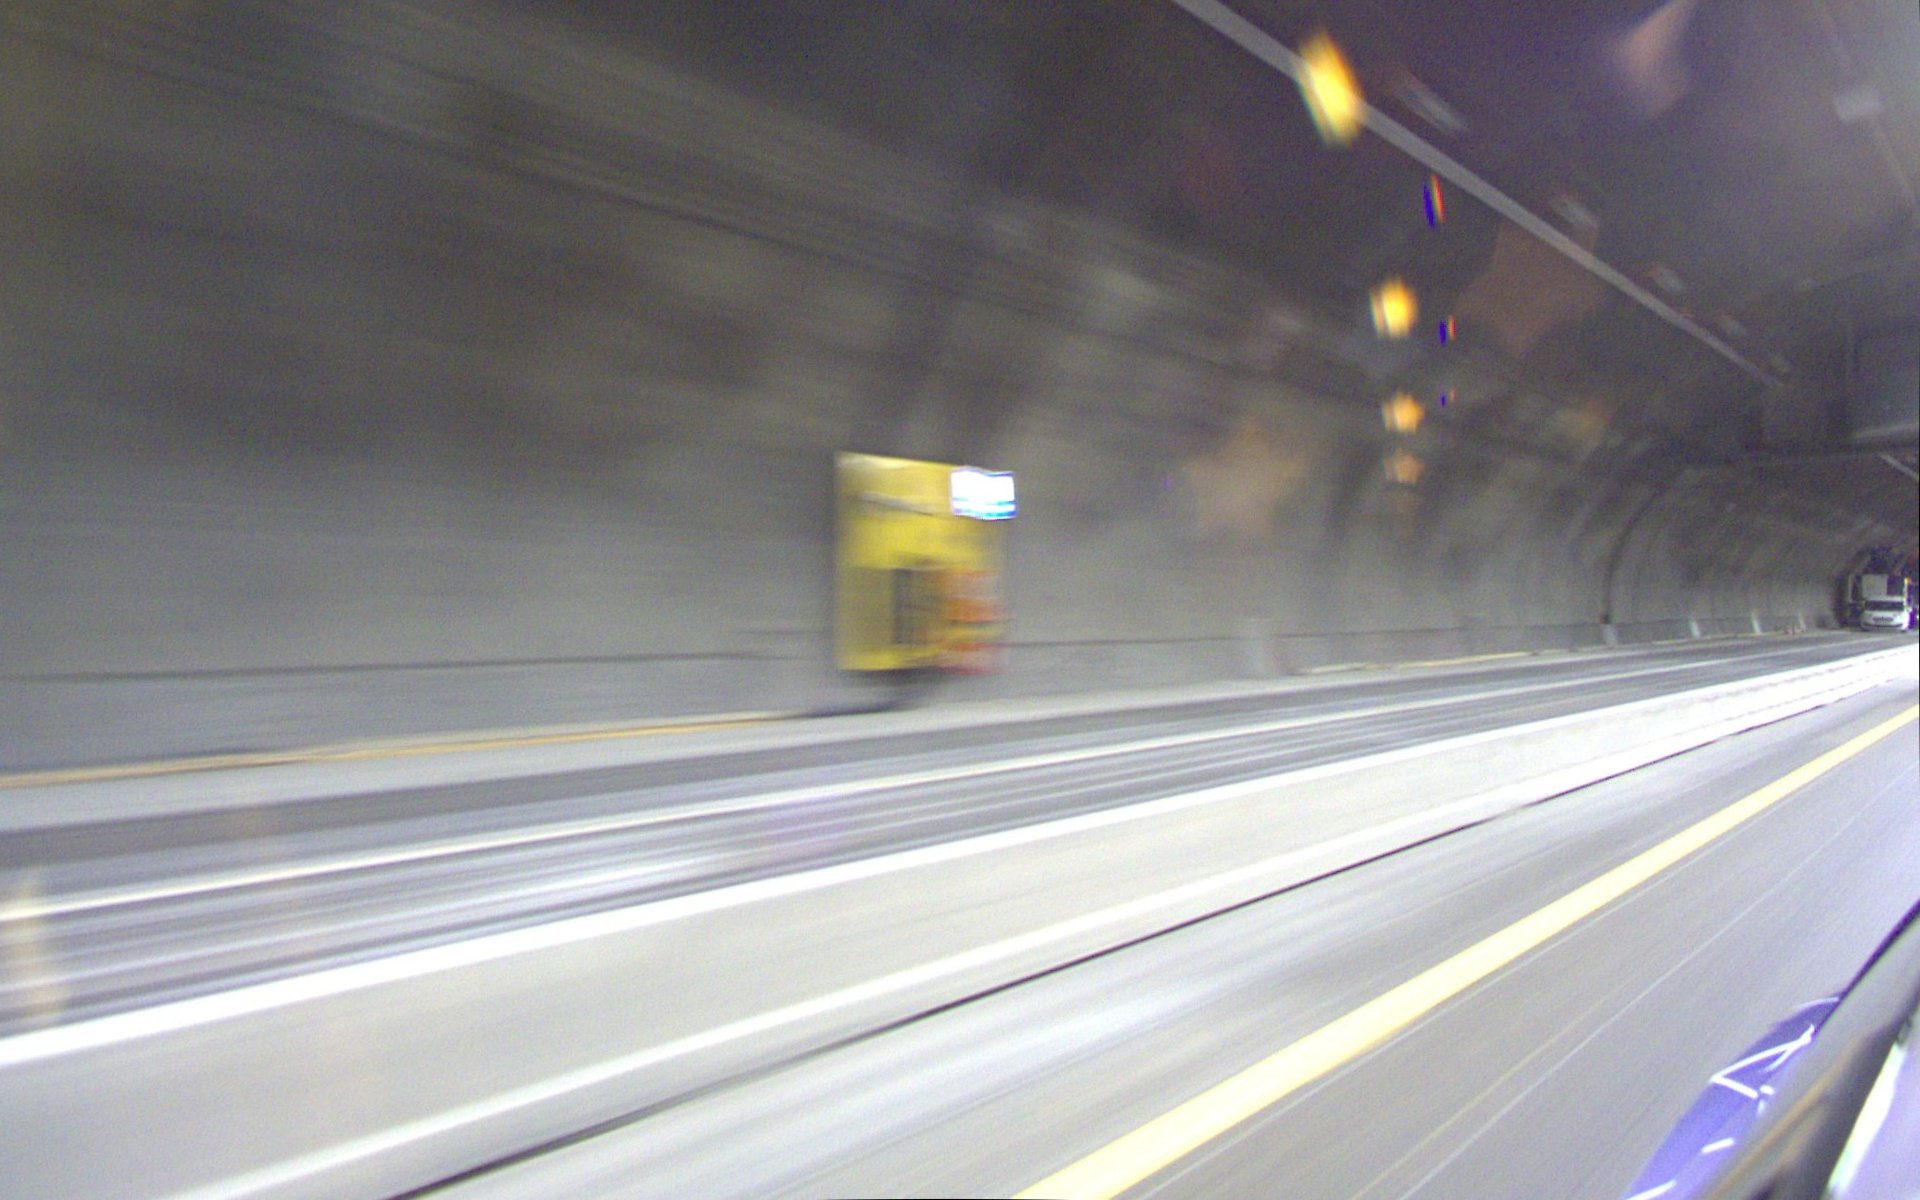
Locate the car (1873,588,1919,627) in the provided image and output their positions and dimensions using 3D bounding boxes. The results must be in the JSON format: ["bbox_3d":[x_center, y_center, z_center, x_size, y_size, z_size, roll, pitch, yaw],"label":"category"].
[{"bbox_3d":[47.822,0.346,51.526,4.570,1.868,1.752,0,1,-45],"label":"car"}]
